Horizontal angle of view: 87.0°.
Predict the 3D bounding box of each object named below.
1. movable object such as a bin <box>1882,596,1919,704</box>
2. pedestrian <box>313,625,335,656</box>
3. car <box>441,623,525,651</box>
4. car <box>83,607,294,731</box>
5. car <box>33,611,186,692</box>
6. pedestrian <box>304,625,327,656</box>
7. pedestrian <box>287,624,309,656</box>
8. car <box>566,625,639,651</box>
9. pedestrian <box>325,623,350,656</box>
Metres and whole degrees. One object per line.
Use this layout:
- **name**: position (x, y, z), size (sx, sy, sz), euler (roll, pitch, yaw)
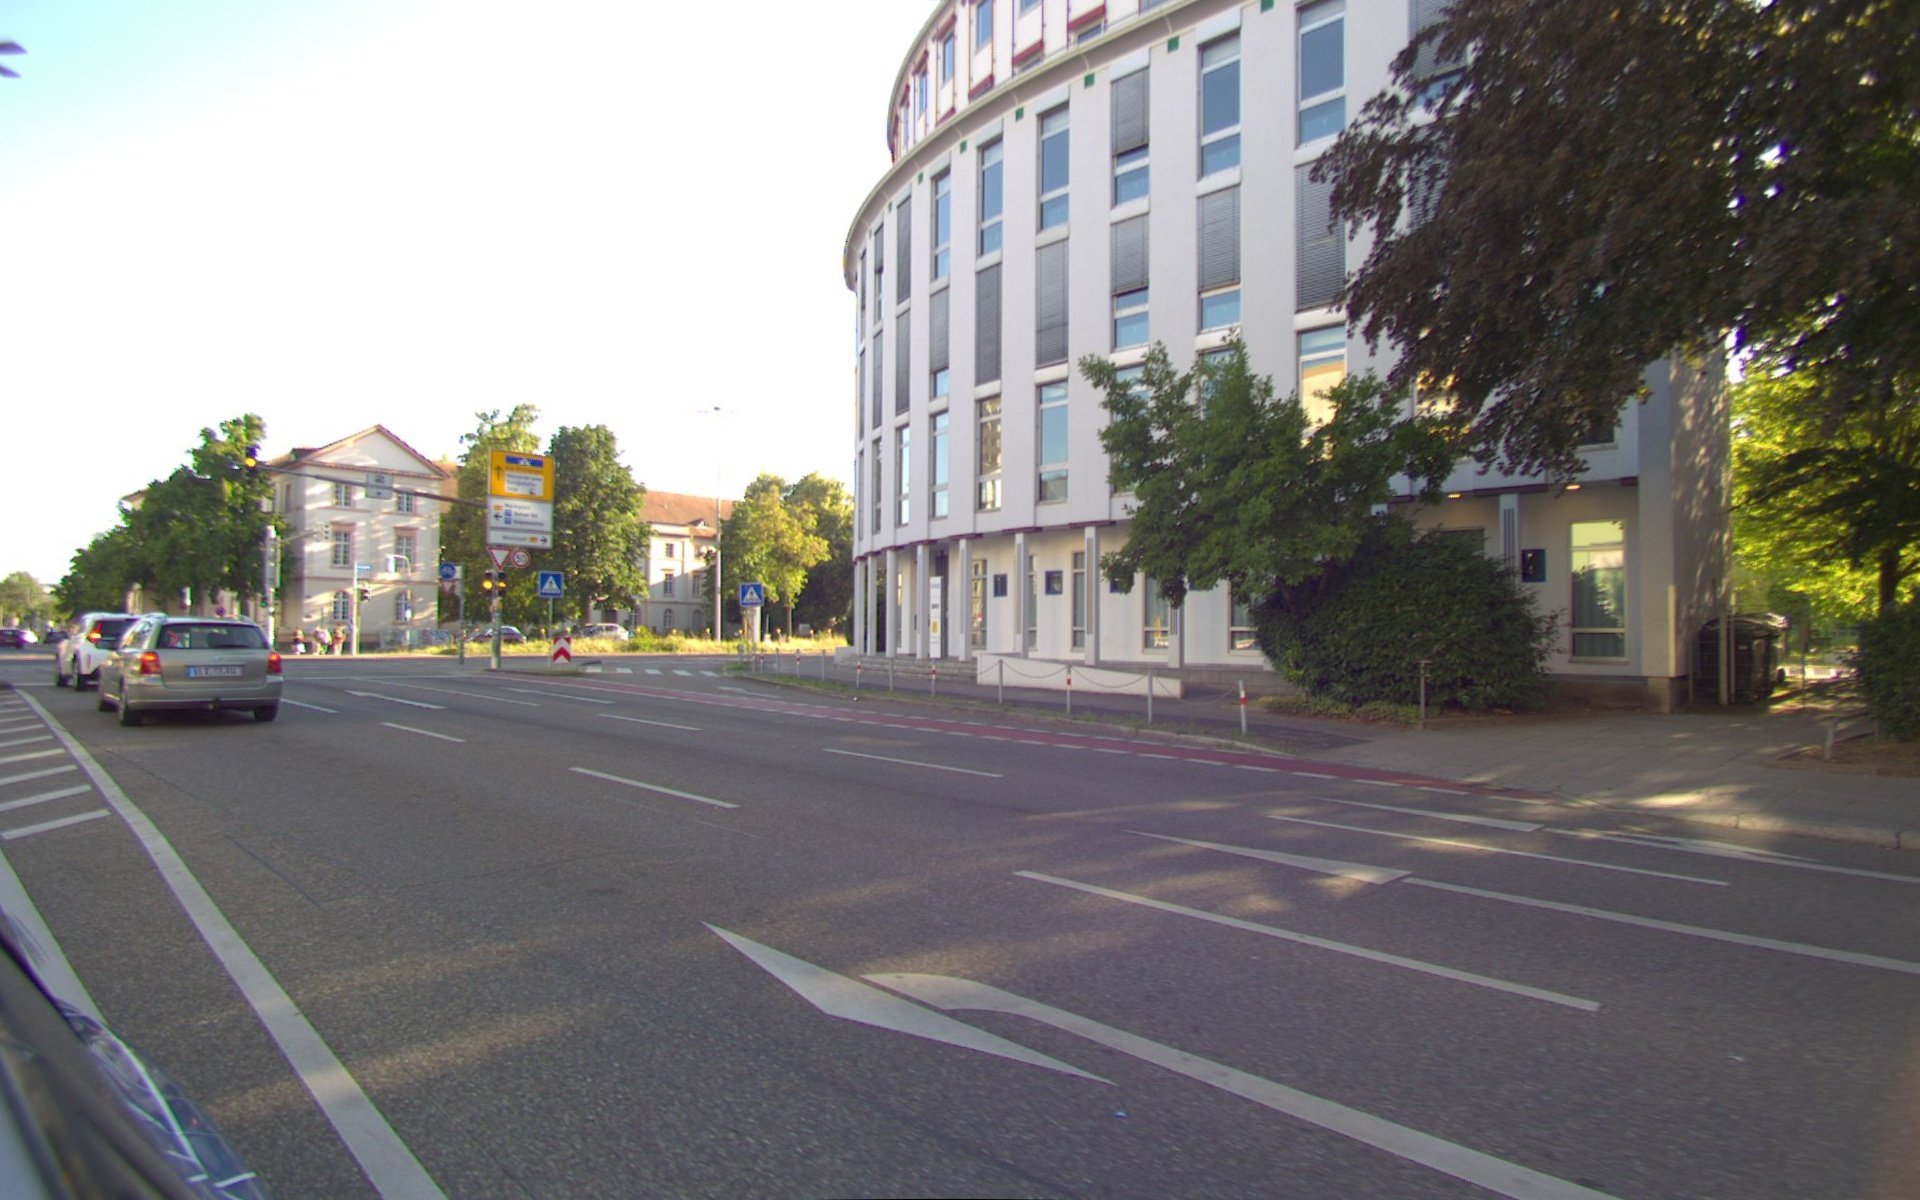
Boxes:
- **movable object such as a bin**: position (15.495, 0.770, 15.844), size (1.485, 1.664, 1.458), euler (2, -3, -45)
- **pedestrian**: position (-34.099, 2.156, 54.224), size (0.880, 1.663, 0.671), euler (-1, -2, 33)
- **car**: position (-25.531, 1.969, 54.244), size (1.997, 1.457, 3.601), euler (-2, -2, 37)
- **car**: position (-11.327, 0.924, 14.726), size (4.606, 1.526, 1.807), euler (-2, -3, 45)
- **car**: position (-17.194, 1.007, 20.415), size (3.901, 1.472, 1.808), euler (-2, -2, 42)
- **pedestrian**: position (-36.369, 2.296, 57.092), size (1.081, 1.721, 0.671), euler (-1, -2, 33)
- **pedestrian**: position (-34.816, 2.094, 53.230), size (0.887, 1.663, 0.614), euler (-1, -2, 33)
- **car**: position (-21.243, 2.246, 60.218), size (1.997, 1.457, 3.601), euler (-2, -2, 37)
- **pedestrian**: position (-35.619, 2.275, 57.922), size (1.166, 1.863, 0.811), euler (-1, -2, 33)
